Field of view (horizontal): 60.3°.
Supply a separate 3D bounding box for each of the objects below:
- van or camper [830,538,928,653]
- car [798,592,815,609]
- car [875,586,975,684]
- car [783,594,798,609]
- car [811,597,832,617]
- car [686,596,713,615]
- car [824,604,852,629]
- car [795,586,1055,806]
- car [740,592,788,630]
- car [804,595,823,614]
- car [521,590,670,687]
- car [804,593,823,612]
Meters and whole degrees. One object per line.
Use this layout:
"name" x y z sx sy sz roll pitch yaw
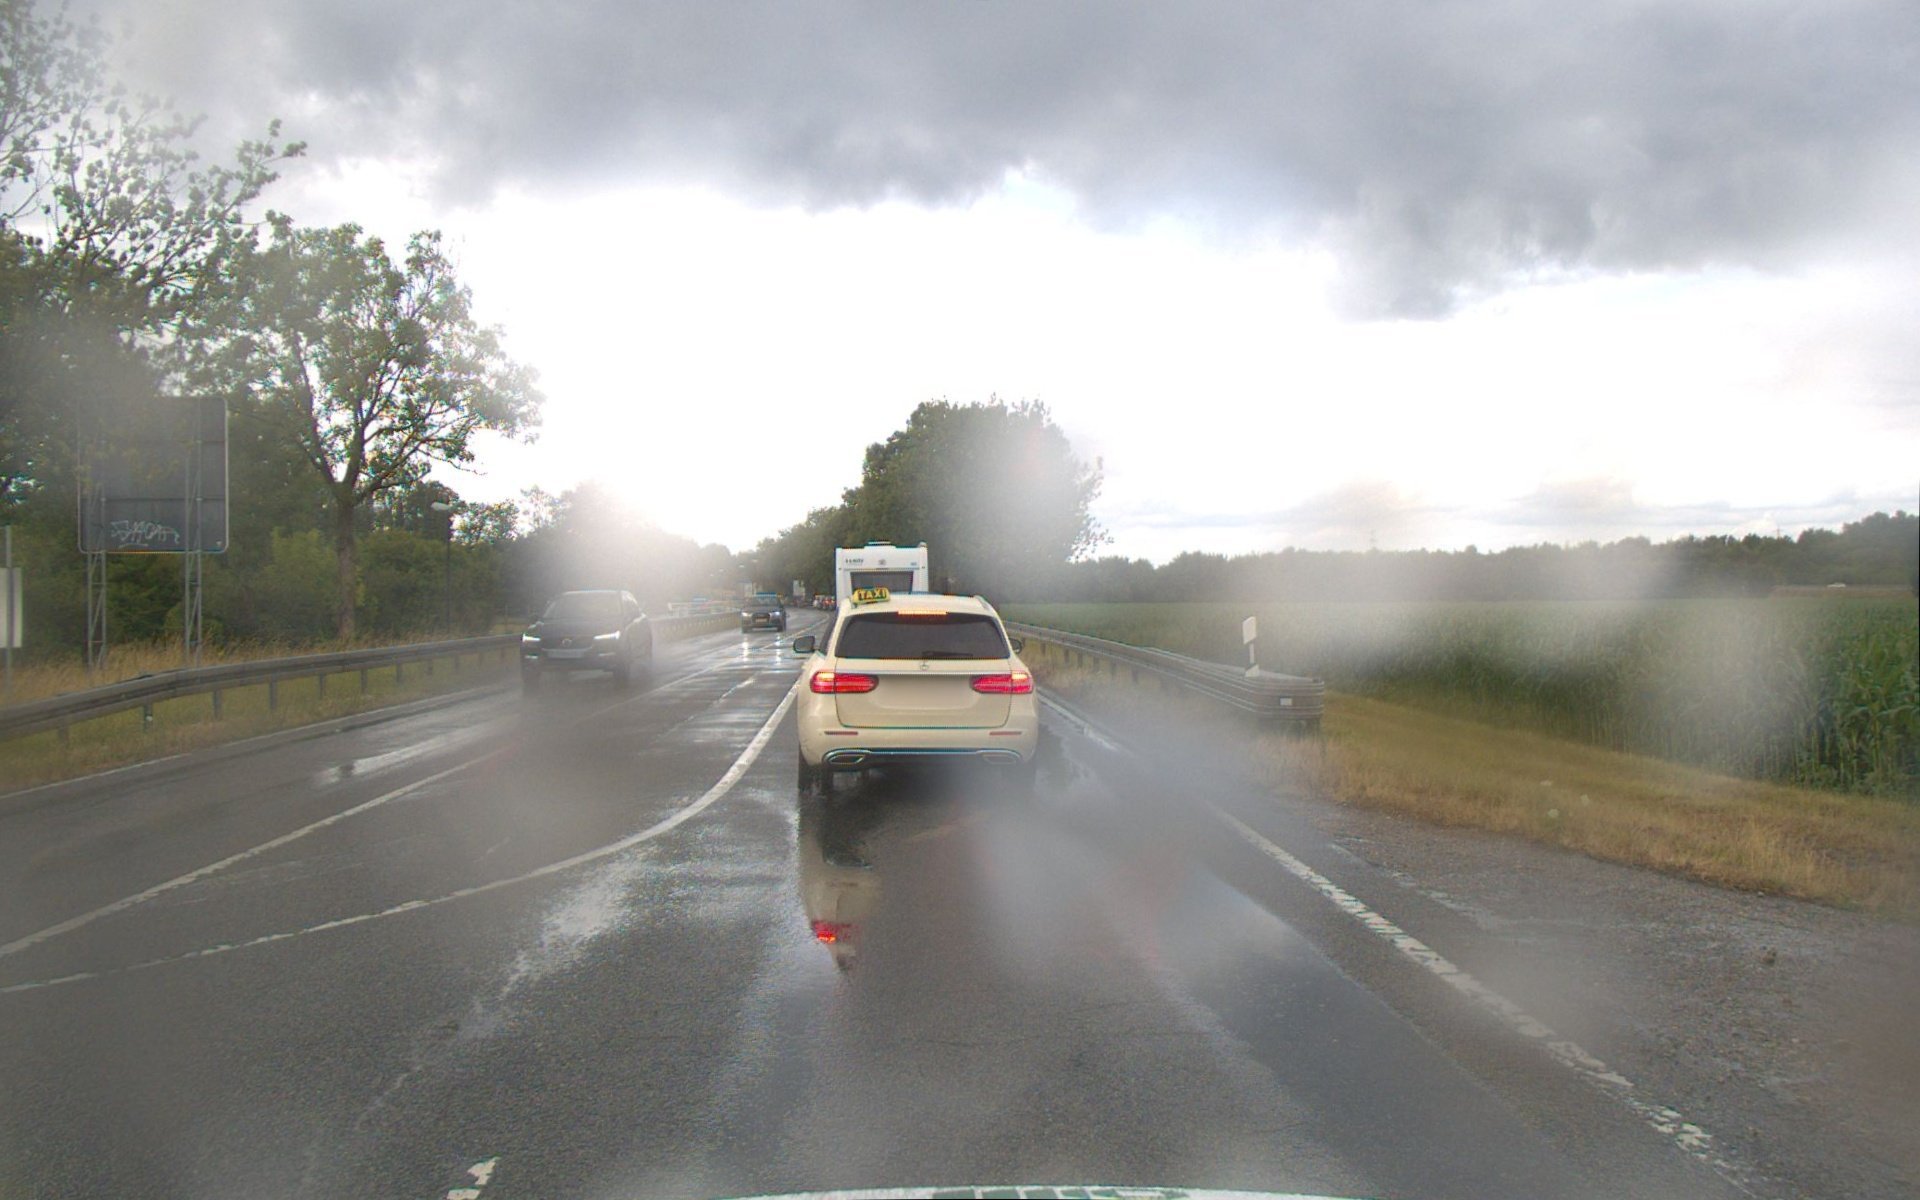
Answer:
"van or camper" -2.075 -0.145 42.380 2.304 2.727 5.765 -1 1 -3
"car" -18.622 0.094 200.712 1.955 2.049 3.995 0 0 -5
"car" -0.665 0.557 28.702 1.595 1.556 3.930 -1 0 -3
"car" -23.922 0.207 232.879 1.956 2.049 3.993 0 0 -8
"car" -14.222 0.700 169.840 1.956 2.049 3.993 0 0 -7
"car" -23.544 0.475 149.607 1.953 1.680 3.999 0 0 -2
"car" -10.359 1.372 140.473 1.957 2.049 3.990 0 0 -10
"car" -0.304 0.664 13.517 1.788 1.511 4.143 0 0 -2
"car" -8.620 0.481 73.175 1.733 1.550 4.139 -2 0 -2
"car" -16.082 0.455 181.567 1.954 2.049 3.998 0 0 -3
"car" -6.690 0.650 30.809 1.905 1.608 4.441 -2 0 -2
"car" -16.710 0.259 189.228 1.953 2.087 3.998 0 0 -2
